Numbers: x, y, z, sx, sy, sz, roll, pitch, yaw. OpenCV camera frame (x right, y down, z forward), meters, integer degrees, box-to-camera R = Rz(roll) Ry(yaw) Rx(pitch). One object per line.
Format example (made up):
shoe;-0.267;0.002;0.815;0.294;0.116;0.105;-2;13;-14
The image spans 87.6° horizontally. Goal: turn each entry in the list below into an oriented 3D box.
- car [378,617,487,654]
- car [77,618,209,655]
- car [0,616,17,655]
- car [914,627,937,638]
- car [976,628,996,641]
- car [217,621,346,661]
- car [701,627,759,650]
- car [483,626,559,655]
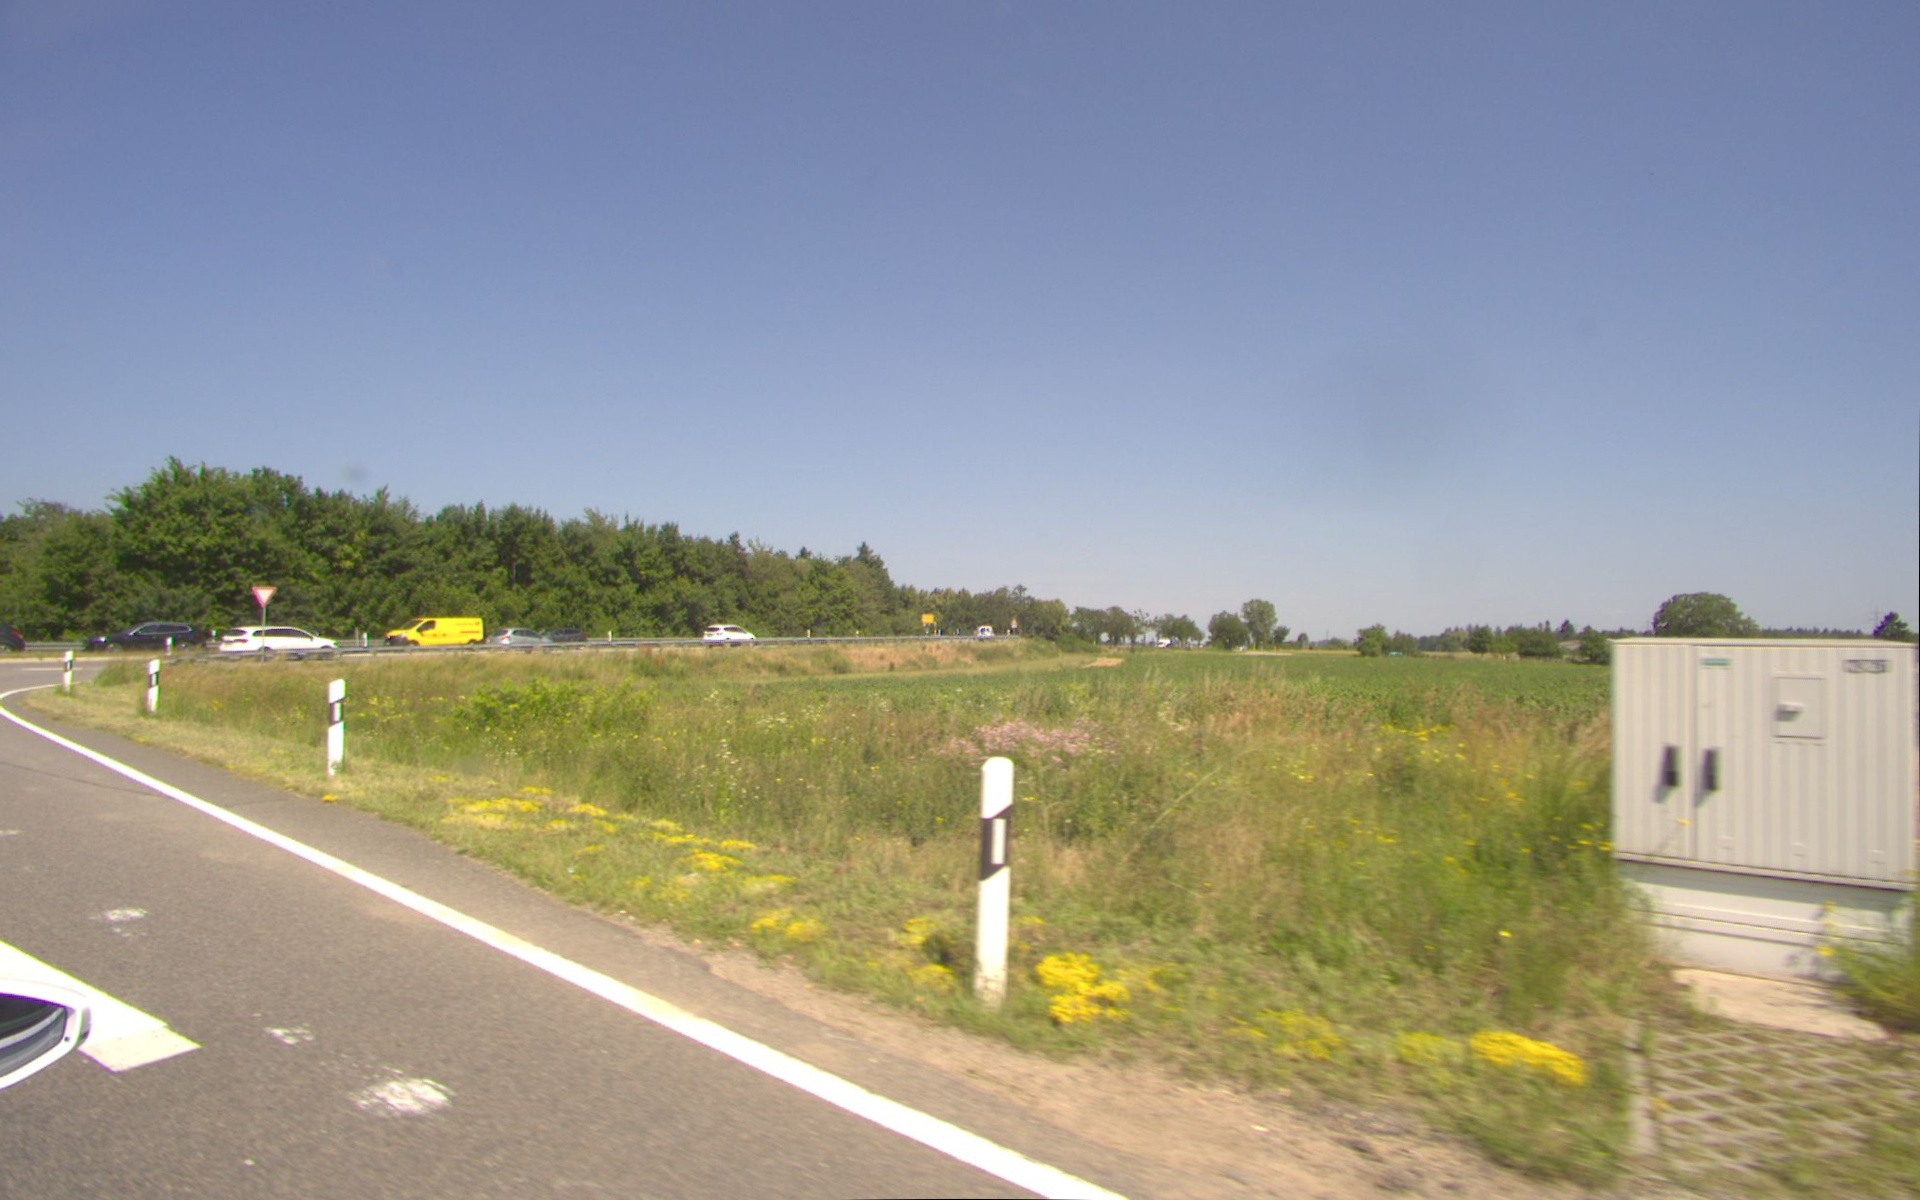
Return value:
car;-30.327;2.046;57.721;1.973;2.039;5.310;-1;-2;34
car;-37.954;1.706;46.637;1.744;1.618;4.474;-1;-2;35
car;-42.956;1.519;42.588;1.819;1.661;3.971;-1;-2;38
car;-5.139;4.897;149.731;1.823;1.533;4.684;0;-2;-23
car;3.119;4.115;119.720;1.685;1.589;3.999;-1;-2;11
car;-29.820;1.768;44.168;1.711;1.587;4.468;-1;-1;25
car;-16.535;2.796;72.312;1.711;1.587;4.470;-1;-2;25
car;-24.858;2.294;56.770;1.714;1.587;3.677;-1;-2;30
